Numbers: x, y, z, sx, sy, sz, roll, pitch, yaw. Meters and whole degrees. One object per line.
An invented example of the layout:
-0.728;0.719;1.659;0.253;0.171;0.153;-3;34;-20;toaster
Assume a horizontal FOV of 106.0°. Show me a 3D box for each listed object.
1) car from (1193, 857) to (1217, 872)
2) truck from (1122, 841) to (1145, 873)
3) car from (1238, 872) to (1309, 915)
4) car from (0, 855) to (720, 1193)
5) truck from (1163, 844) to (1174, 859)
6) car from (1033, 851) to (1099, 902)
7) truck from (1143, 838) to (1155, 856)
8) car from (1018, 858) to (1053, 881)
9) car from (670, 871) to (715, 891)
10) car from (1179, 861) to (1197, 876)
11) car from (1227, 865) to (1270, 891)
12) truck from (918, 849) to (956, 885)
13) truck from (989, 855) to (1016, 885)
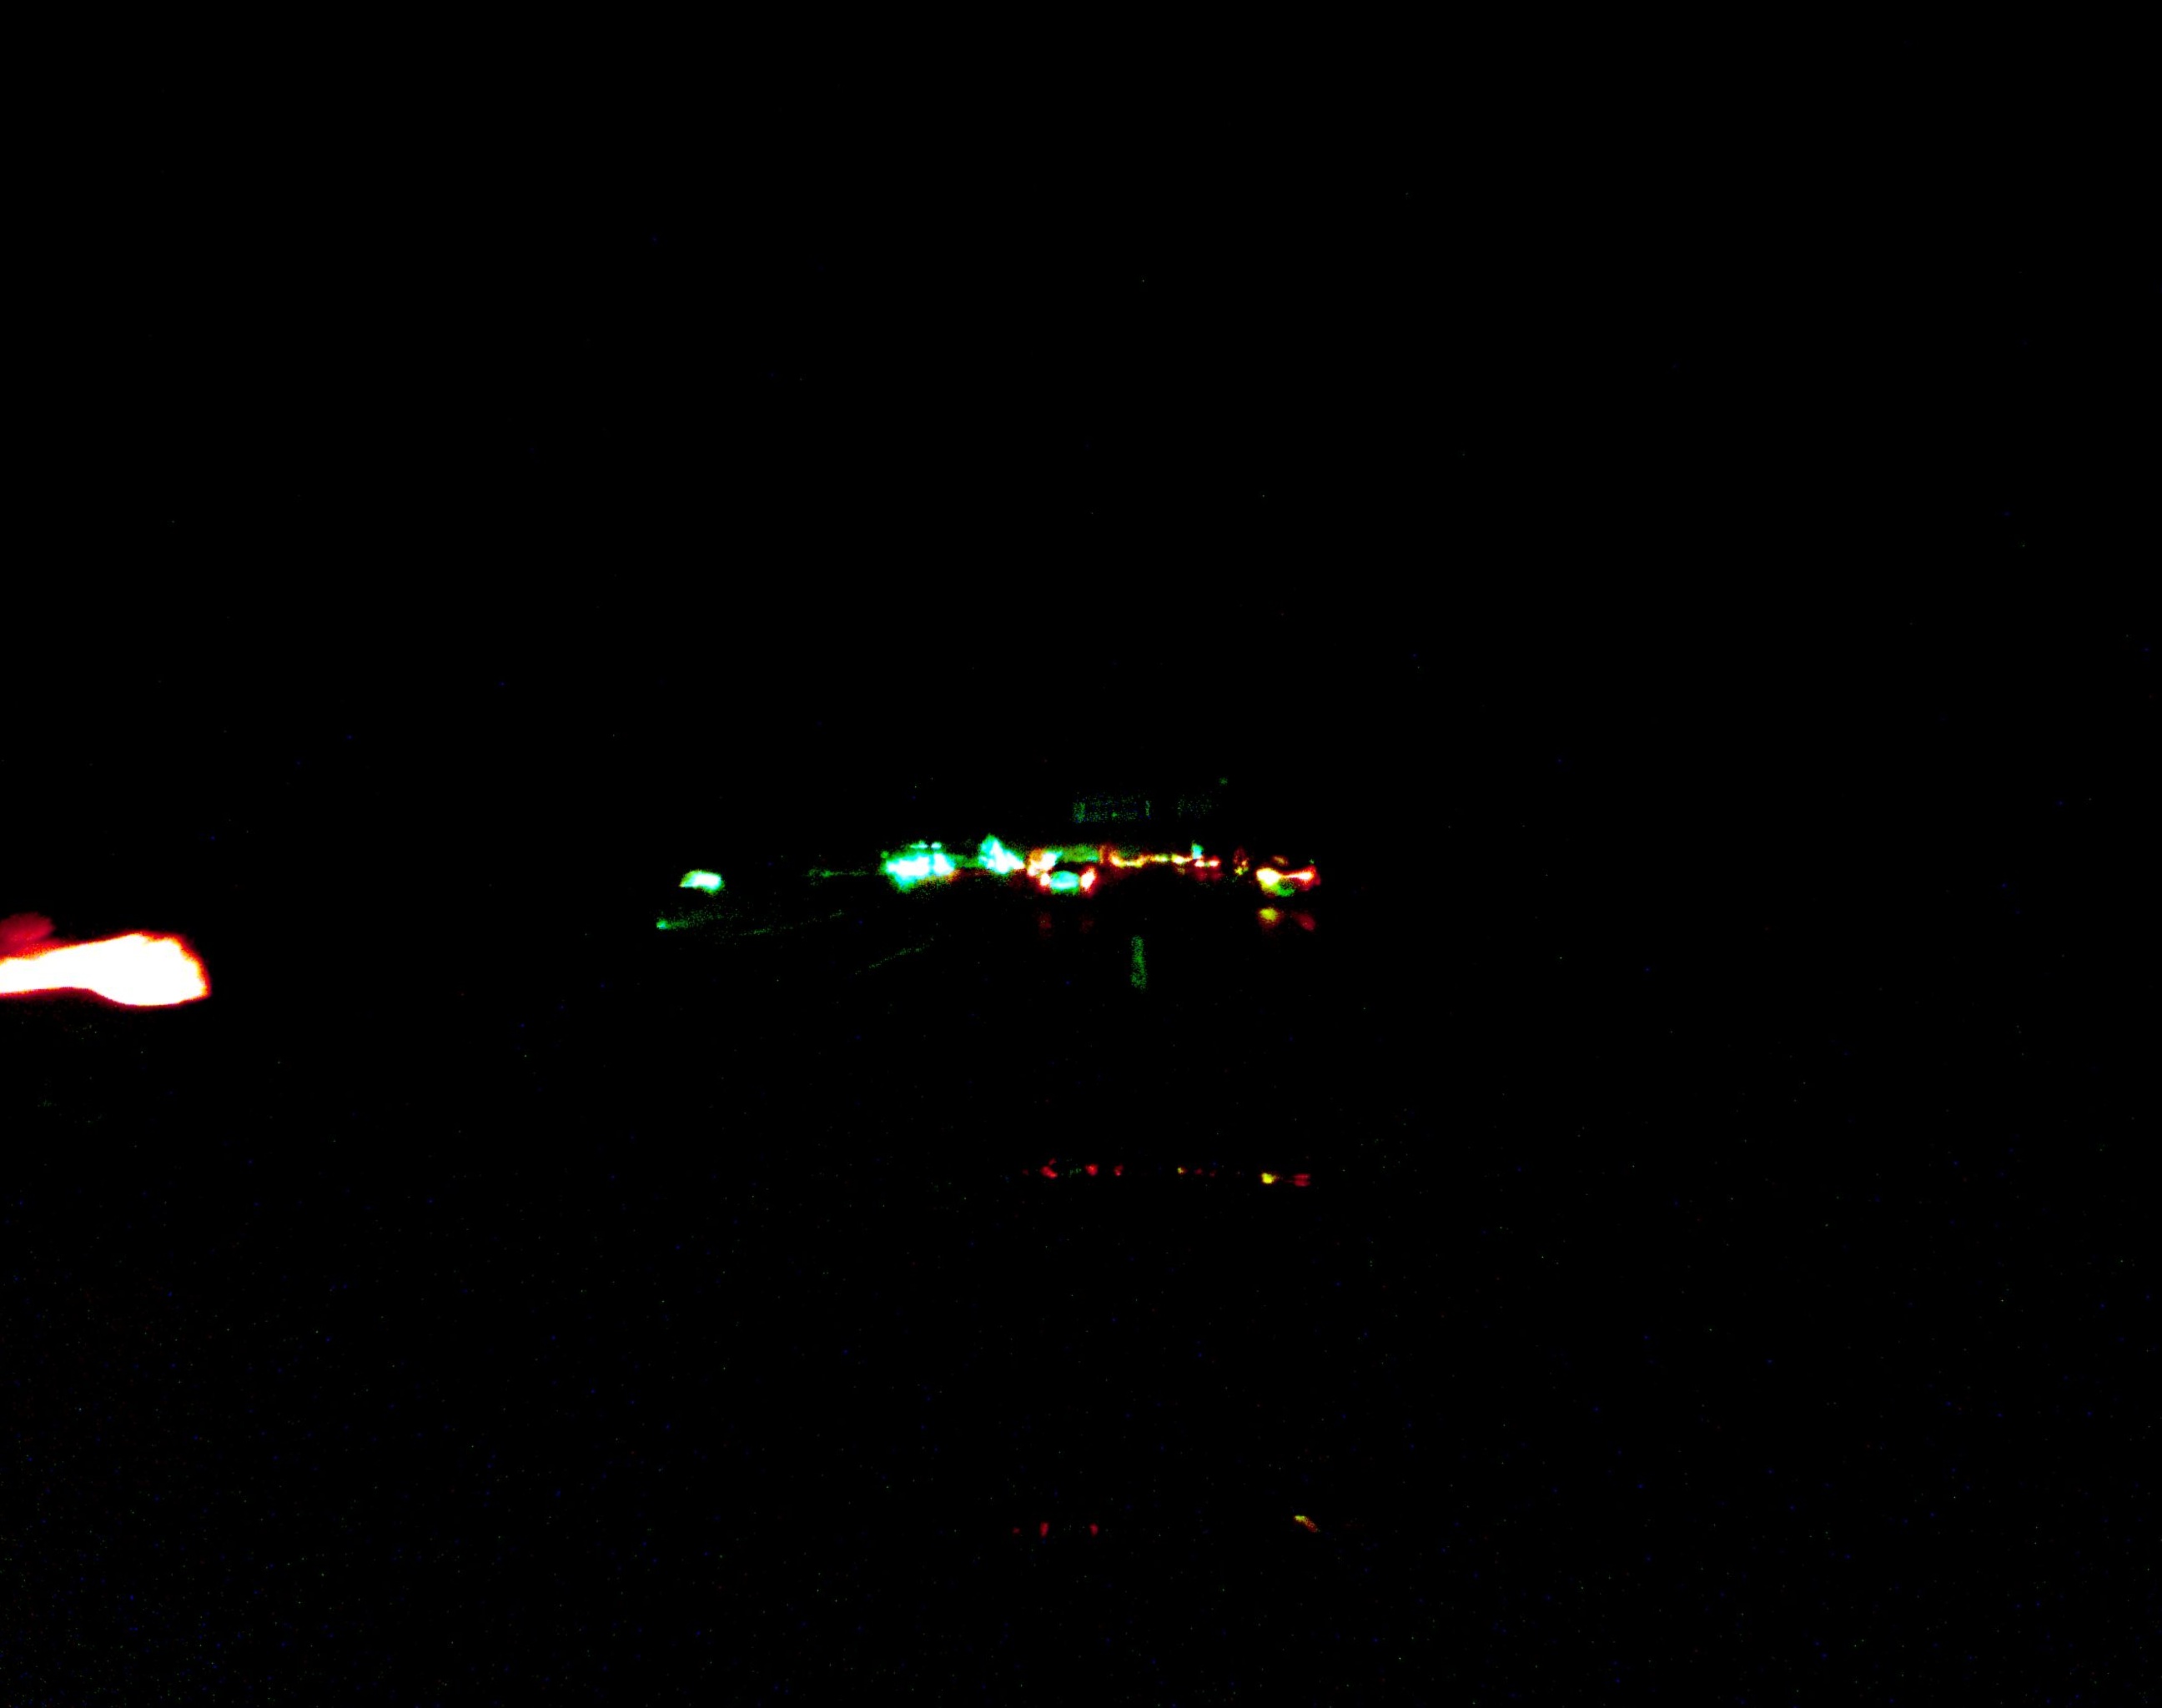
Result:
10.634;0.925;69.975;1.576;1.246;3.068;0;0;0;car
5.350;0.354;82.786;1.984;3.043;6.474;-4;-1;5;truck
6.146;1.233;26.326;1.576;1.246;3.068;0;0;0;car
-4.906;0.817;6.271;1.850;1.540;4.756;-1;1;4;car
18.501;-0.545;172.822;1.984;3.043;6.474;-4;-1;5;truck
-0.399;0.670;26.207;1.794;1.487;4.004;-1;0;4;car
12.941;-1.304;154.920;1.984;3.043;6.474;-4;-1;5;truck
-2.710;0.937;49.142;1.656;1.236;3.763;-4;-1;2;car
-28.160;1.914;59.126;1.489;1.284;3.235;-4;-1;5;car
12.197;1.657;92.841;1.854;1.618;4.006;0;0;5;car
8.611;1.228;42.001;1.576;1.246;3.068;0;0;0;car
-16.145;1.437;91.854;2.685;3.760;6.458;-4;-1;3;truck
-13.220;2.692;137.590;2.910;4.849;7.584;-4;-1;4;truck
